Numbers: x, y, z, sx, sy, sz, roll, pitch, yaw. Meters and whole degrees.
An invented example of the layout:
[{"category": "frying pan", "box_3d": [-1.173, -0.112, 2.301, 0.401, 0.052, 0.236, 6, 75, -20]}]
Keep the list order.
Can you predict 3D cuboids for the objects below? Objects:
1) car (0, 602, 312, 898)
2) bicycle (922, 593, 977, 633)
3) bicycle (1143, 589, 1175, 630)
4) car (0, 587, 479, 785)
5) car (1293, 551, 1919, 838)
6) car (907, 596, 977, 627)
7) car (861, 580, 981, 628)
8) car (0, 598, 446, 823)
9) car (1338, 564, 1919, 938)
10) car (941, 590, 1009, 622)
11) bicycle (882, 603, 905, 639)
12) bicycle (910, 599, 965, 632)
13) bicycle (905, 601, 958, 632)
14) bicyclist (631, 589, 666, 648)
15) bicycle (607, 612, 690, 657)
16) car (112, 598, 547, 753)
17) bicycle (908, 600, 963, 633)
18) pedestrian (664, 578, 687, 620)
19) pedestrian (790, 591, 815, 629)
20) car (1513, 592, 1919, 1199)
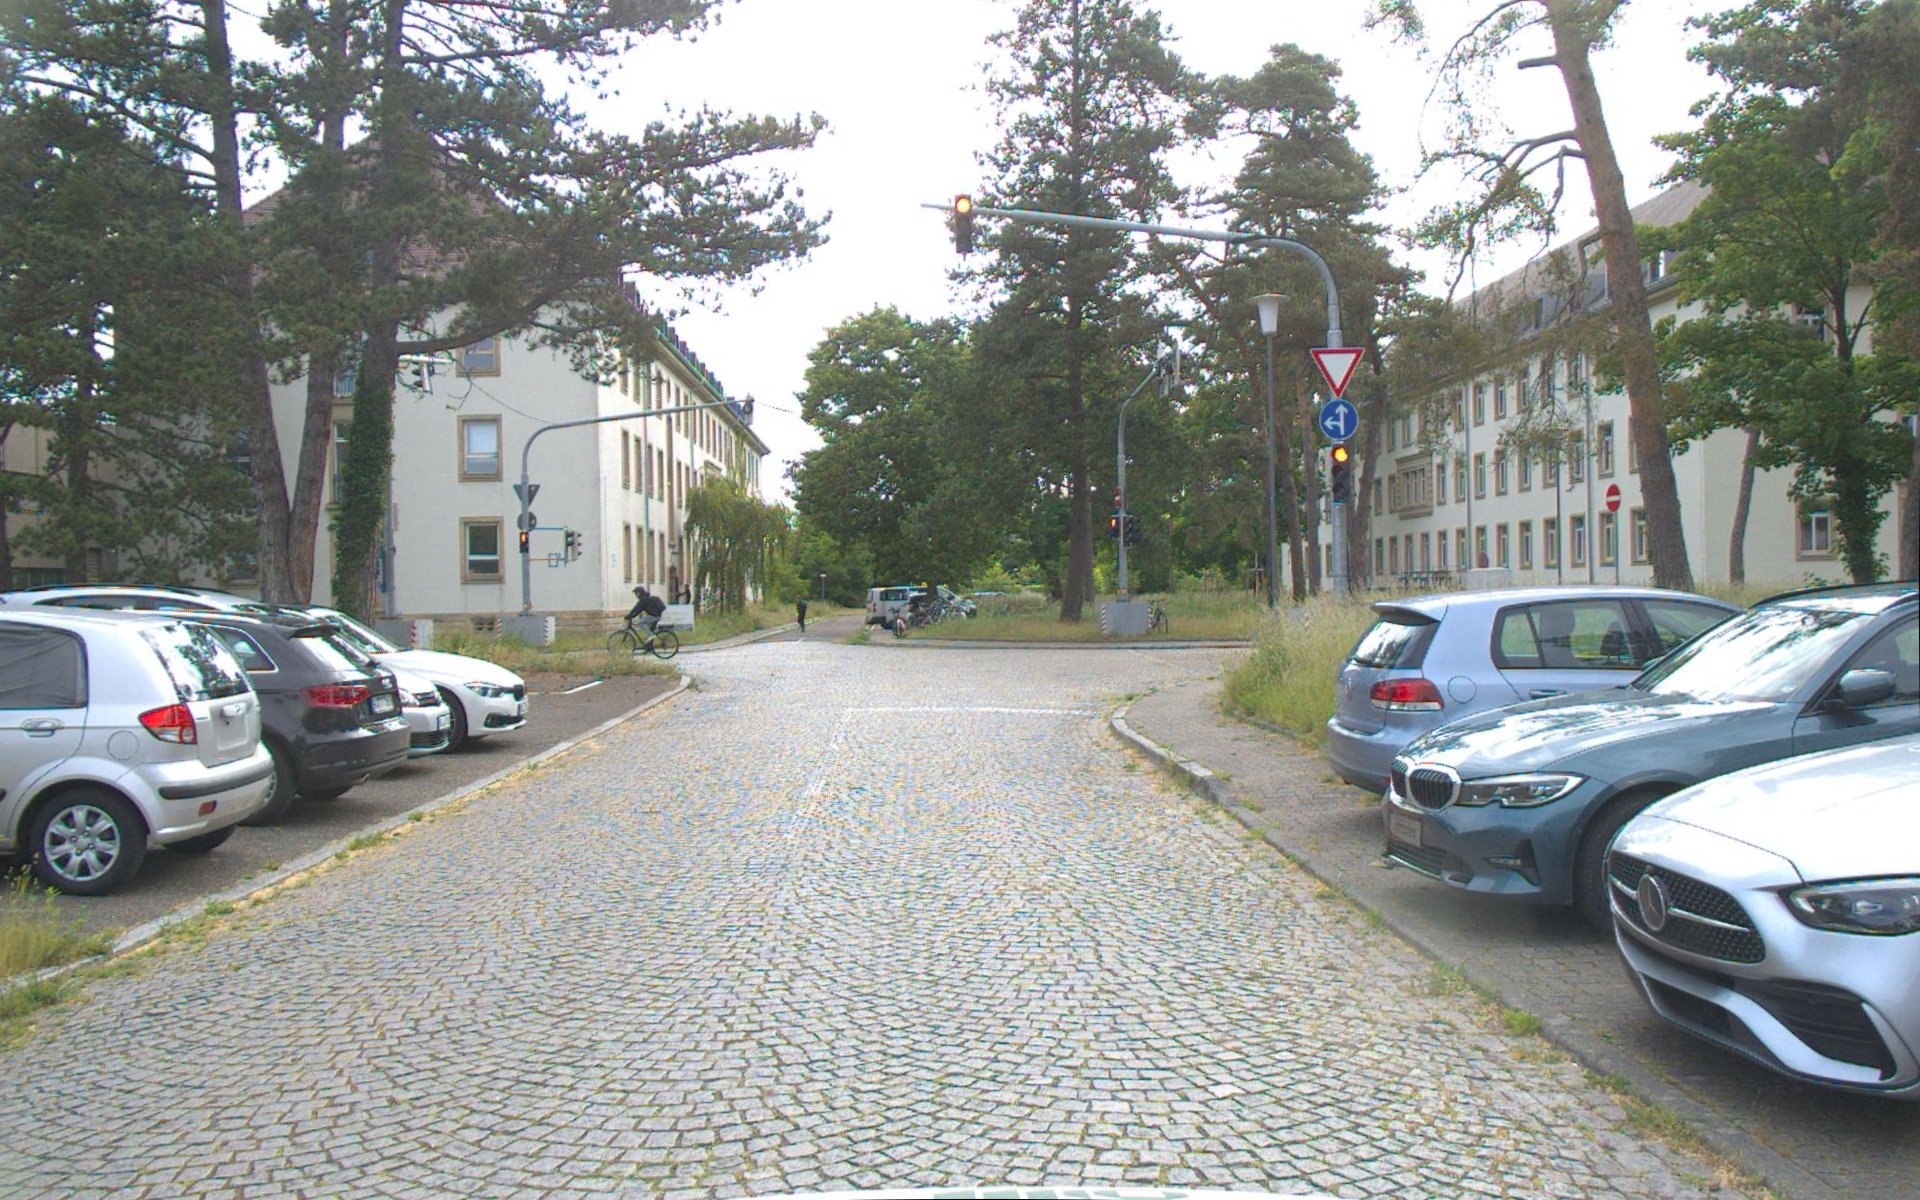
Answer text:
[{"category": "car", "box_3d": [-5.796, 0.770, 9.346, 3.631, 1.505, 1.581, 1, 0, -5]}, {"category": "bicycle", "box_3d": [-0.396, 0.483, 60.701, 1.919, 1.408, 0.587, -1, 0, -9]}, {"category": "bicycle", "box_3d": [5.687, 0.253, 47.366, 0.574, 1.125, 1.960, -1, 0, -2]}, {"category": "car", "box_3d": [-6.443, 0.729, 14.705, 3.871, 1.590, 1.648, 1, 0, -5]}, {"category": "car", "box_3d": [4.244, 0.540, 10.558, 3.847, 1.503, 1.642, -3, 0, -1]}, {"category": "car", "box_3d": [-0.835, 0.507, 73.945, 2.949, 1.290, 1.532, -2, 0, -8]}, {"category": "car", "box_3d": [-1.832, 0.191, 77.270, 5.266, 1.958, 2.019, -3, 0, -11]}, {"category": "car", "box_3d": [-5.792, 0.750, 11.945, 3.673, 1.453, 1.581, 1, 0, -5]}, {"category": "car", "box_3d": [4.406, 0.582, 8.112, 4.590, 1.441, 1.869, -3, 0, -5]}, {"category": "car", "box_3d": [0.710, 0.283, 81.255, 3.169, 1.441, 1.723, -2, 0, -5]}, {"category": "bicycle", "box_3d": [-2.268, 0.699, 55.962, 0.591, 1.152, 1.958, -1, 0, -8]}, {"category": "bicycle", "box_3d": [-0.810, 0.555, 59.219, 1.919, 1.152, 0.587, -1, 0, -9]}, {"category": "bicycle", "box_3d": [-1.051, 0.600, 61.327, 1.936, 1.088, 0.581, -1, 0, -32]}, {"category": "bicyclist", "box_3d": [-7.635, 0.448, 40.587, 0.734, 1.435, 0.605, -1, 0, -2]}, {"category": "bicycle", "box_3d": [-7.626, 0.832, 40.580, 1.916, 1.042, 0.605, -1, 0, -3]}, {"category": "car", "box_3d": [-6.446, 0.756, 17.242, 3.869, 1.446, 1.649, 1, 0, -3]}, {"category": "bicycle", "box_3d": [-0.894, 0.578, 59.849, 1.919, 1.136, 0.587, -1, 0, -9]}, {"category": "pedestrian", "box_3d": [-12.821, -0.052, 74.479, 0.767, 1.869, 0.732, -1, 0, -33]}, {"category": "pedestrian", "box_3d": [-6.890, 0.444, 72.139, 0.761, 1.646, 0.738, -1, 0, 37]}, {"category": "car", "box_3d": [4.293, 0.663, 5.345, 4.339, 1.441, 1.868, -3, 0, -8]}]
